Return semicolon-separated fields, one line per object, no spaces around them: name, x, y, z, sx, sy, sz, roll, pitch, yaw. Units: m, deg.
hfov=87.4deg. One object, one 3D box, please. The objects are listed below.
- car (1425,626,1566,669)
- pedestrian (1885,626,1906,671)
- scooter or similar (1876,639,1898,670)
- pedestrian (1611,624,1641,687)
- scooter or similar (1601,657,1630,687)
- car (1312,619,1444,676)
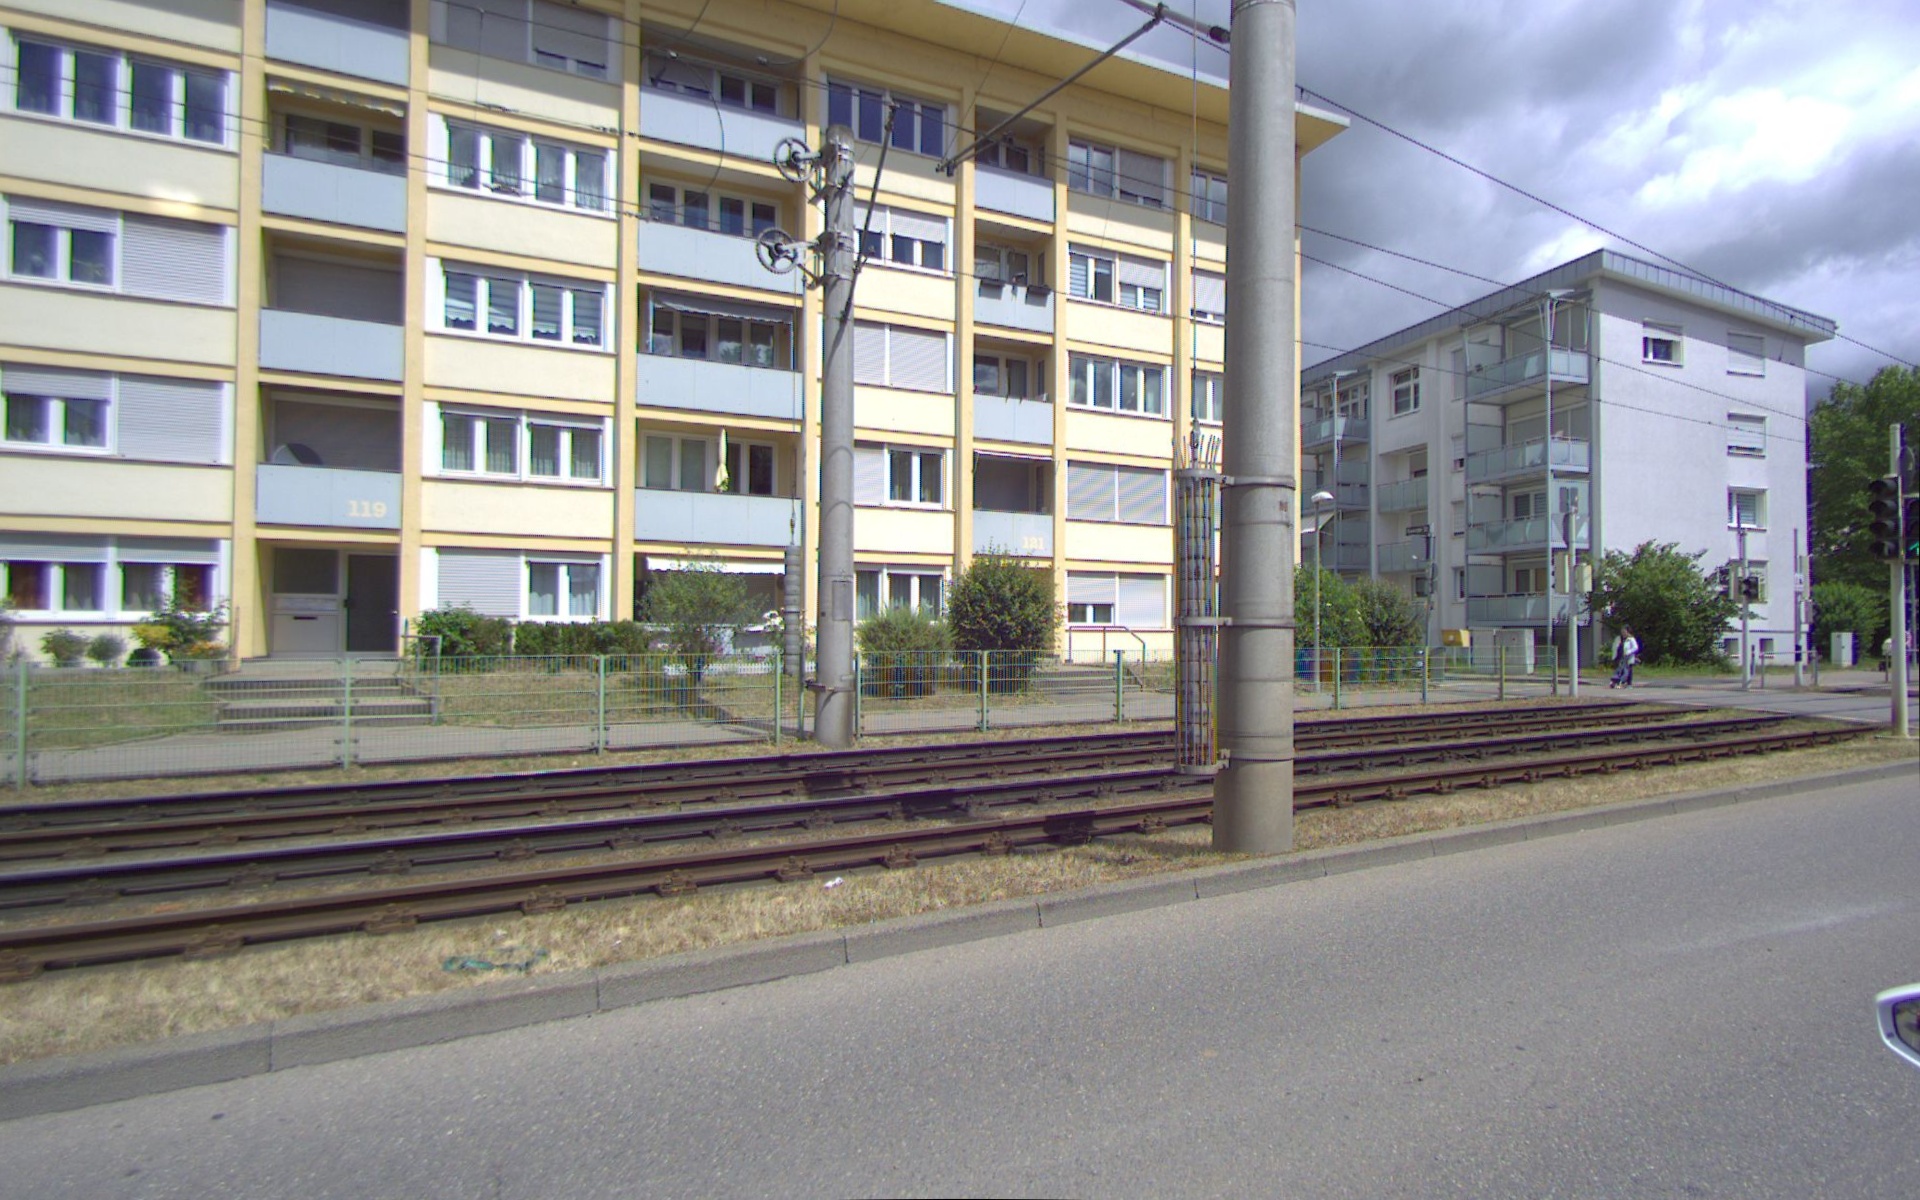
car;18.023;1.566;34.021;1.873;1.363;3.980;1;-1;-22
pedestrian;33.070;1.711;35.510;0.550;1.557;0.347;1;-1;-27
scooter or similar;32.509;1.912;35.219;0.678;1.071;0.337;1;-1;-27
pedestrian;17.394;1.450;26.237;0.468;1.602;0.436;1;1;-25
scooter or similar;17.021;1.867;26.086;0.468;0.757;0.436;1;-1;-25
car;14.122;1.574;34.168;1.970;1.673;3.981;1;0;-20
